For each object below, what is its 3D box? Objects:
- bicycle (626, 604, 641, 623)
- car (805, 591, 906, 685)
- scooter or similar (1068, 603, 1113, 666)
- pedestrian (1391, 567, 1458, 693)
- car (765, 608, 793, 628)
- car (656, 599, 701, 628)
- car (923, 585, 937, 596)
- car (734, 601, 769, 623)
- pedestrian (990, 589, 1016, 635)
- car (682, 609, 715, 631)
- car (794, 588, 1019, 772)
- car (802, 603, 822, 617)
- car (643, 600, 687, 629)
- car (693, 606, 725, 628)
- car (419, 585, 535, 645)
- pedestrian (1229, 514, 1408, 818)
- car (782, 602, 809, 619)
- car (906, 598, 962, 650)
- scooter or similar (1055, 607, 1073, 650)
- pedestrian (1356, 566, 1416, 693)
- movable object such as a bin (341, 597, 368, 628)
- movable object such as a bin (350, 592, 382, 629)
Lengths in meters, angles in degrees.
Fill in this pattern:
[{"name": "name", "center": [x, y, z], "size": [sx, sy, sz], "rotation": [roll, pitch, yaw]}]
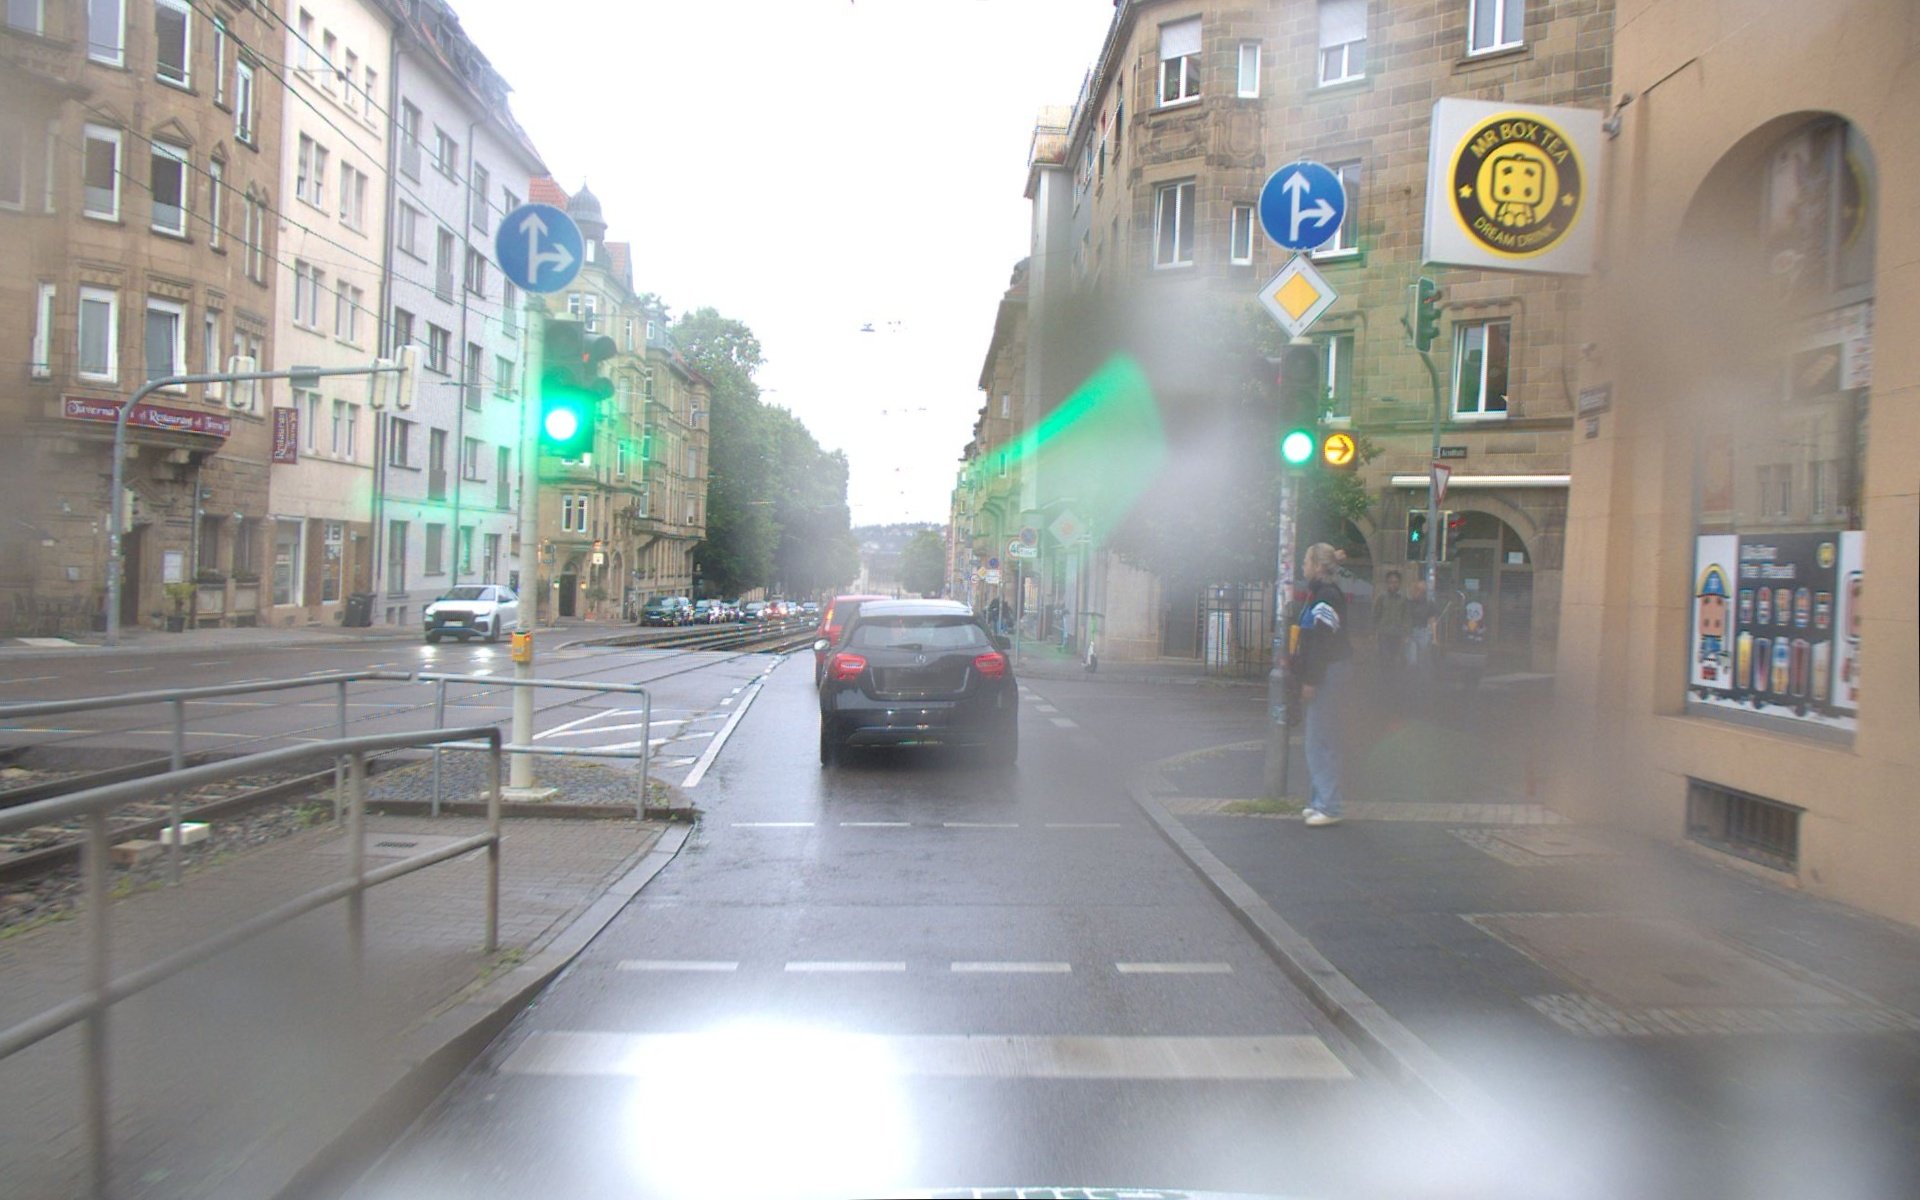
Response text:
[{"name": "bicycle", "center": [-18.151, 0.736, 91.990], "size": [0.586, 1.018, 2.077], "rotation": [0, 0, -5]}, {"name": "car", "center": [-1.824, 0.617, 28.980], "size": [1.617, 1.477, 3.997], "rotation": [2, 0, -4]}, {"name": "scooter or similar", "center": [2.602, 0.686, 33.144], "size": [0.625, 1.231, 1.551], "rotation": [0, 0, -5]}, {"name": "pedestrian", "center": [6.829, 0.433, 24.367], "size": [0.668, 1.820, 0.901], "rotation": [0, -1, -5]}, {"name": "car", "center": [-14.116, 1.417, 129.444], "size": [1.645, 1.523, 3.520], "rotation": [0, 0, 2]}, {"name": "car", "center": [-16.335, 0.766, 96.190], "size": [1.769, 1.625, 4.525], "rotation": [0, 0, 0]}, {"name": "car", "center": [-3.726, -1.180, 204.991], "size": [1.581, 1.340, 3.999], "rotation": [3, -1, -1]}, {"name": "car", "center": [-14.115, 0.806, 112.259], "size": [1.908, 1.421, 4.273], "rotation": [0, 0, -1]}, {"name": "pedestrian", "center": [1.721, 0.465, 66.288], "size": [0.926, 1.800, 1.014], "rotation": [1, 0, -3]}, {"name": "car", "center": [-16.736, 1.274, 105.932], "size": [1.537, 1.339, 3.481], "rotation": [0, 0, 0]}, {"name": "car", "center": [-0.425, 0.667, 15.797], "size": [1.828, 1.477, 4.000], "rotation": [2, 0, 0]}, {"name": "car", "center": [-14.989, 1.028, 167.798], "size": [1.660, 1.413, 3.481], "rotation": [0, 0, 0]}, {"name": "car", "center": [-16.225, 0.775, 91.025], "size": [1.687, 1.568, 3.934], "rotation": [0, 0, 0]}, {"name": "car", "center": [-16.711, 1.110, 110.354], "size": [1.537, 1.438, 3.481], "rotation": [0, 0, 0]}, {"name": "car", "center": [-14.065, 0.432, 48.483], "size": [1.953, 1.656, 5.251], "rotation": [1, 0, -1]}, {"name": "pedestrian", "center": [2.353, 0.416, 10.786], "size": [0.945, 1.872, 0.902], "rotation": [-2, 0, 22]}, {"name": "car", "center": [-13.954, 0.895, 140.542], "size": [1.769, 1.384, 4.762], "rotation": [0, 0, 0]}, {"name": "car", "center": [-0.849, 0.755, 53.240], "size": [1.729, 1.586, 4.744], "rotation": [1, 0, -1]}, {"name": "scooter or similar", "center": [3.031, 0.816, 48.309], "size": [0.387, 1.237, 1.106], "rotation": [1, 0, -3]}, {"name": "pedestrian", "center": [6.255, 0.430, 24.326], "size": [0.582, 1.820, 0.890], "rotation": [0, -1, -5]}, {"name": "movable object such as a bin", "center": [-18.829, 0.383, 51.460], "size": [0.582, 0.927, 0.560], "rotation": [5, -1, -2]}, {"name": "movable object such as a bin", "center": [-18.739, 0.324, 52.176], "size": [0.699, 1.092, 0.687], "rotation": [5, -1, -2]}]
